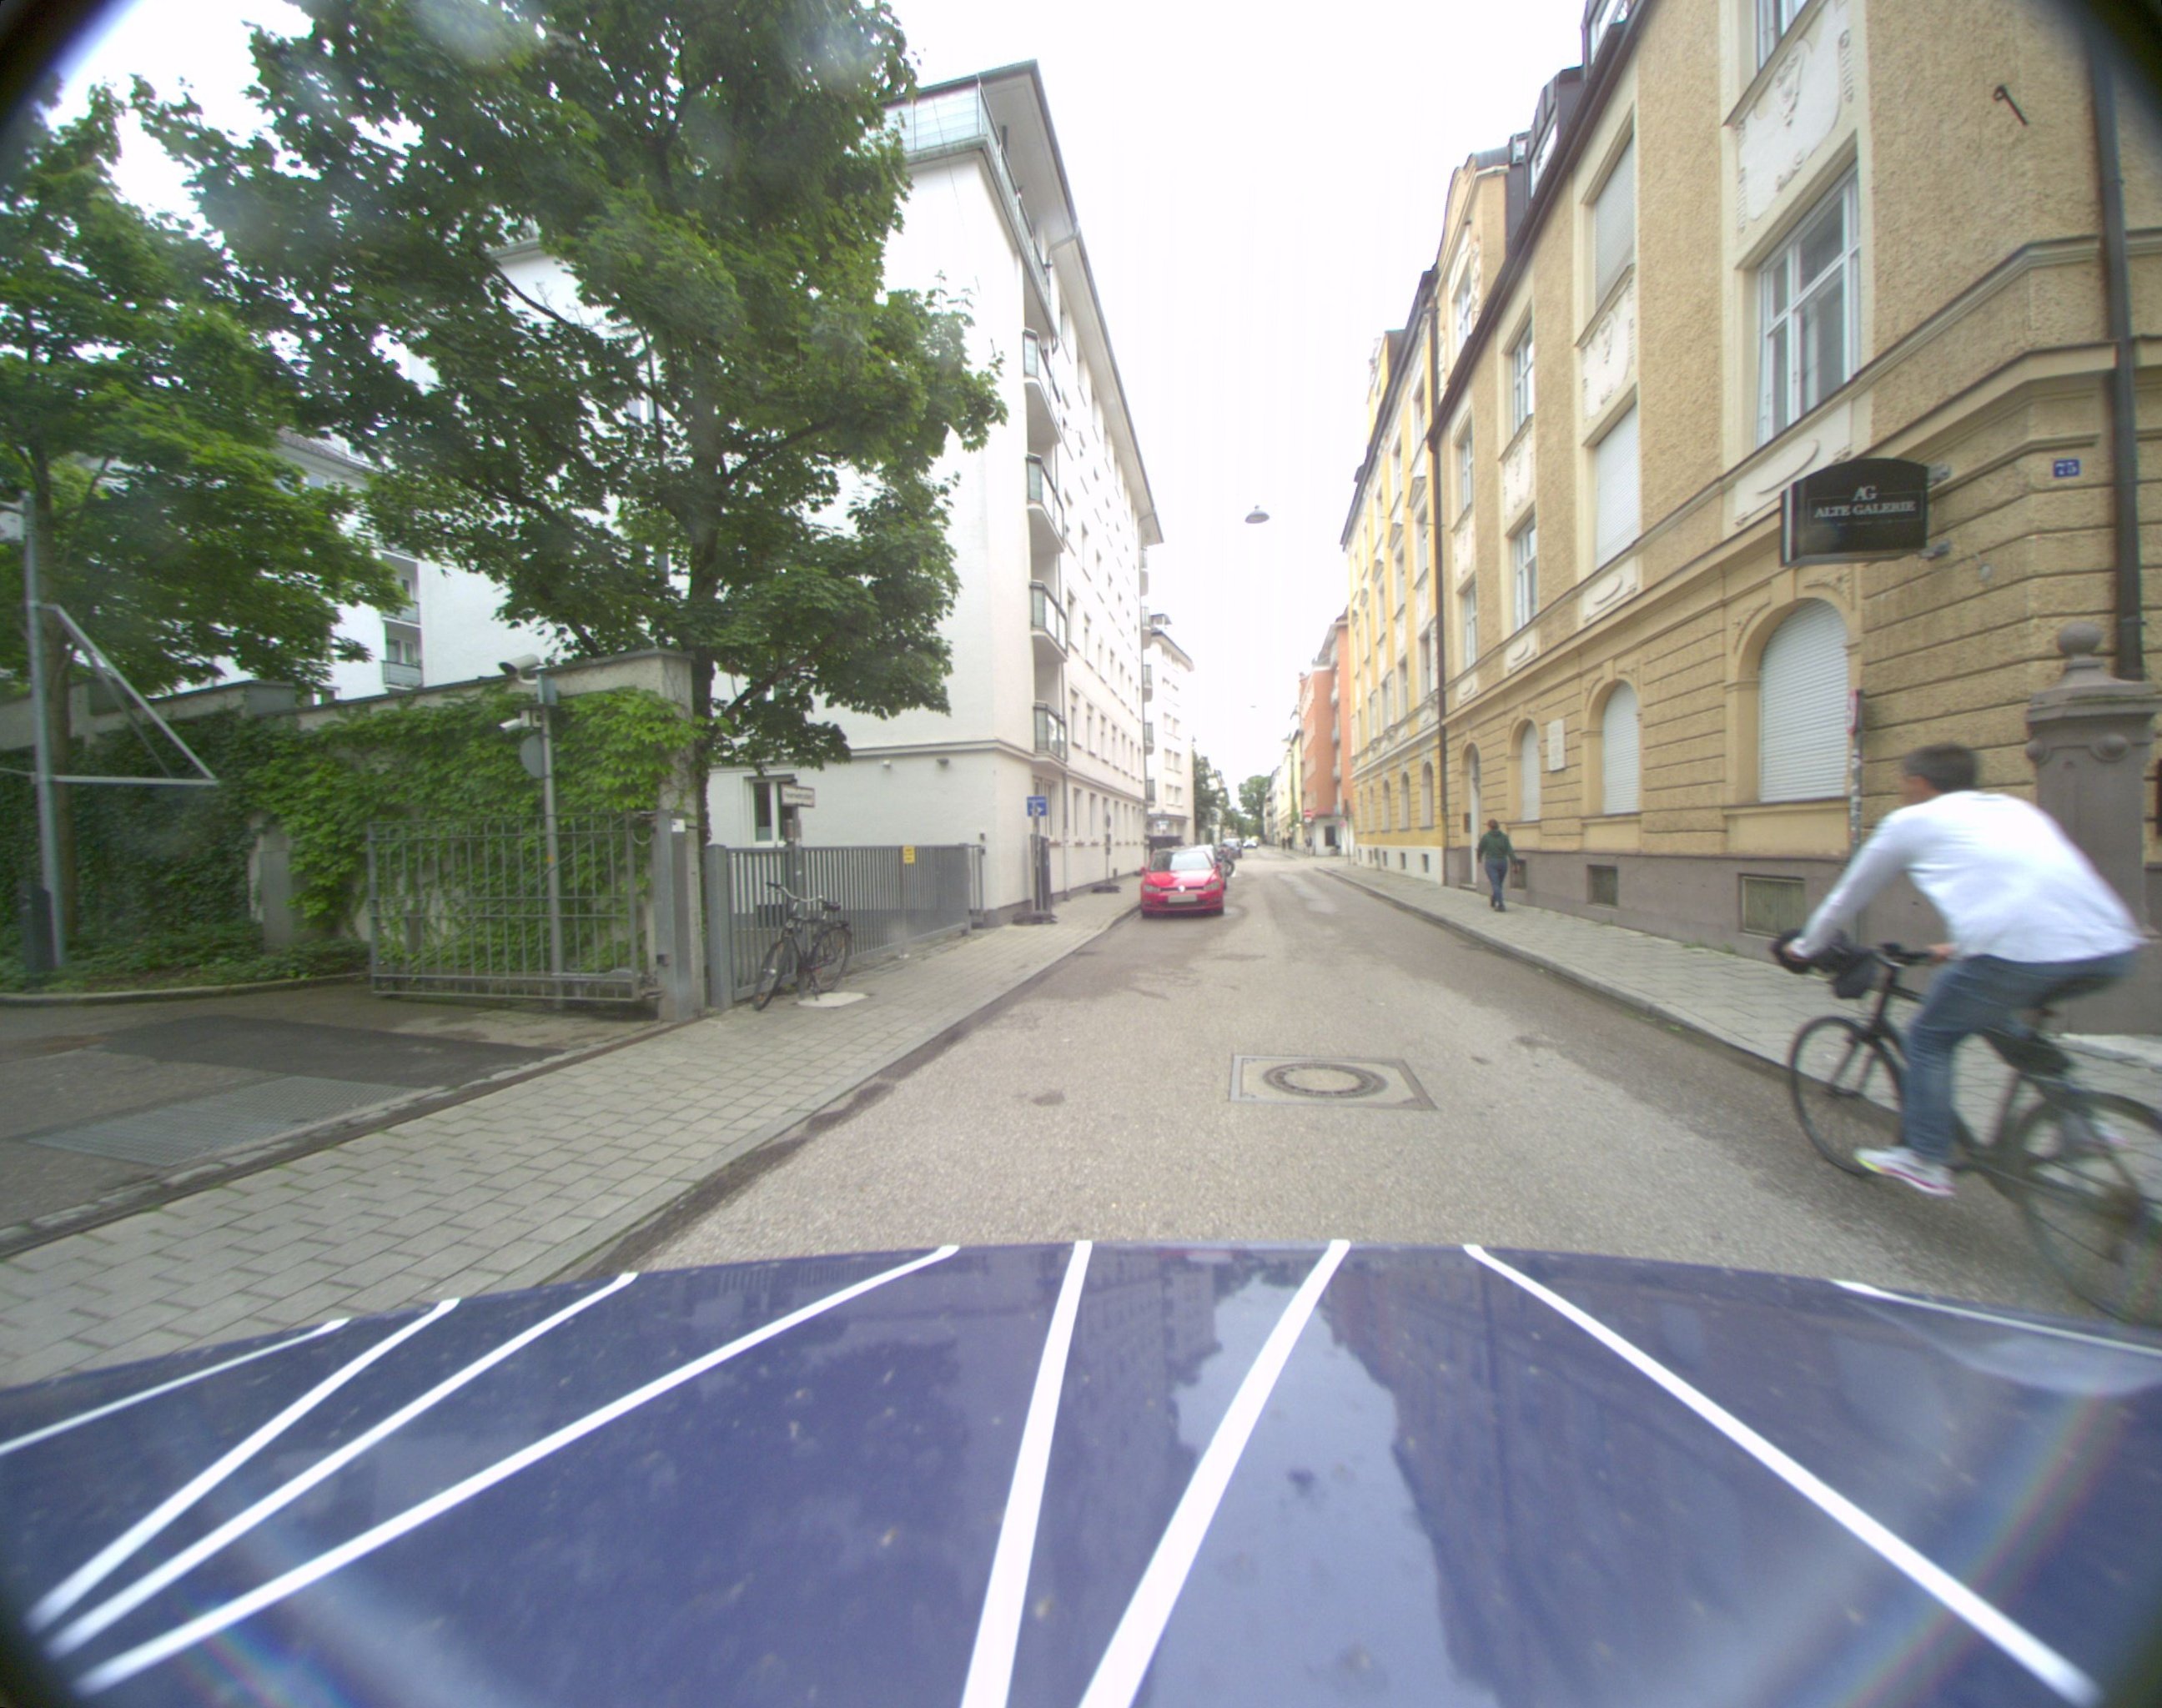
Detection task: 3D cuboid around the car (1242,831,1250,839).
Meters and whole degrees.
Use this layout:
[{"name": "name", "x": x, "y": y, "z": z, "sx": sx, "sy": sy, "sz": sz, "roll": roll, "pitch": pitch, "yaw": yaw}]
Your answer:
[{"name": "car", "x": 43.707, "y": -5.107, "z": 201.184, "sx": 1.997, "sy": 2.002, "sz": 4.650, "roll": -2, "pitch": 1, "yaw": 12}]

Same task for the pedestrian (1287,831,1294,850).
[{"name": "pedestrian", "x": 22.406, "y": -1.411, "z": 81.316, "sx": 0.634, "sy": 2.002, "sz": 0.788, "roll": 0, "pitch": 2, "yaw": 13}]

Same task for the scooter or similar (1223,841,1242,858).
[{"name": "scooter or similar", "x": 11.017, "y": -0.358, "z": 55.206, "sx": 1.339, "sy": 1.207, "sz": 0.345, "roll": -1, "pitch": 2, "yaw": 15}]

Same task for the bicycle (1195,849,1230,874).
[{"name": "bicycle", "x": 5.670, "y": 0.313, "z": 32.796, "sx": 1.437, "sy": 1.038, "sz": 0.330, "roll": 1, "pitch": 3, "yaw": 21}]

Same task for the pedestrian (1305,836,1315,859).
[{"name": "pedestrian", "x": 17.041, "y": -0.477, "z": 56.516, "sx": 0.612, "sy": 1.684, "sz": 0.566, "roll": -1, "pitch": 2, "yaw": 12}]

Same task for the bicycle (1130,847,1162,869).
[{"name": "bicycle", "x": 3.187, "y": 0.183, "z": 37.204, "sx": 1.501, "sy": 1.038, "sz": 0.399, "roll": 0, "pitch": 2, "yaw": -6}]

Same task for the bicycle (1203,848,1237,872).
[{"name": "bicycle", "x": 6.198, "y": 0.279, "z": 33.961, "sx": 1.440, "sy": 1.038, "sz": 0.360, "roll": 1, "pitch": 3, "yaw": 21}]

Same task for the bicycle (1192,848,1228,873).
[{"name": "bicycle", "x": 5.727, "y": 0.287, "z": 33.719, "sx": 1.518, "sy": 1.038, "sz": 0.360, "roll": 1, "pitch": 3, "yaw": 20}]

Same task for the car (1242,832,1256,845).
[{"name": "car", "x": 25.054, "y": -2.343, "z": 113.163, "sx": 1.928, "sy": 1.795, "sz": 4.447, "roll": -2, "pitch": 1, "yaw": 12}]

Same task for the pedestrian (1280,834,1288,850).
[{"name": "pedestrian", "x": 21.681, "y": -1.283, "z": 81.248, "sx": 0.725, "sy": 1.783, "sz": 0.830, "roll": -1, "pitch": 2, "yaw": 13}]

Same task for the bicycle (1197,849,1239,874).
[{"name": "bicycle", "x": 5.812, "y": 0.325, "z": 32.288, "sx": 1.705, "sy": 1.038, "sz": 0.360, "roll": 1, "pitch": 2, "yaw": 13}]

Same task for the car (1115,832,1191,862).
[{"name": "car", "x": 4.778, "y": -0.447, "z": 50.453, "sx": 4.672, "sy": 1.880, "sz": 1.936, "roll": -1, "pitch": 1, "yaw": 21}]

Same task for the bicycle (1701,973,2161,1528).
[{"name": "bicycle", "x": 3.143, "y": 1.108, "z": 2.657, "sx": 0.662, "sy": 1.033, "sz": 2.006, "roll": -1, "pitch": 1, "yaw": 12}]

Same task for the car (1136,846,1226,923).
[{"name": "car", "x": 2.287, "y": 0.610, "z": 17.650, "sx": 1.764, "sy": 1.438, "sz": 4.300, "roll": -3, "pitch": 1, "yaw": 7}]

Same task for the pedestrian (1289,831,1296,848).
[{"name": "pedestrian", "x": 22.557, "y": -1.578, "z": 81.165, "sx": 0.699, "sy": 1.783, "sz": 0.764, "roll": -1, "pitch": 2, "yaw": 13}]

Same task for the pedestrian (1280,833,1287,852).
[{"name": "pedestrian", "x": 21.717, "y": -1.212, "z": 81.455, "sx": 0.634, "sy": 2.002, "sz": 0.788, "roll": 0, "pitch": 2, "yaw": 13}]

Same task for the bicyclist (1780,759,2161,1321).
[{"name": "bicyclist", "x": 3.130, "y": 0.535, "z": 2.644, "sx": 0.660, "sy": 1.633, "sz": 0.896, "roll": -1, "pitch": 2, "yaw": 12}]

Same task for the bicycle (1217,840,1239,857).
[{"name": "bicycle", "x": 11.066, "y": -0.412, "z": 57.242, "sx": 1.606, "sy": 1.207, "sz": 0.529, "roll": -1, "pitch": 2, "yaw": 15}]

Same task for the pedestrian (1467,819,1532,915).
[{"name": "pedestrian", "x": 7.675, "y": 0.224, "z": 13.960, "sx": 0.714, "sy": 1.656, "sz": 0.930, "roll": -4, "pitch": 1, "yaw": 12}]

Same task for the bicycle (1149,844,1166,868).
[{"name": "bicycle", "x": 3.896, "y": 0.097, "z": 38.941, "sx": 0.399, "sy": 1.198, "sz": 1.503, "roll": 0, "pitch": 2, "yaw": -12}]

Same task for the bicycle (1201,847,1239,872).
[{"name": "bicycle", "x": 6.506, "y": 0.250, "z": 35.605, "sx": 1.698, "sy": 1.154, "sz": 0.378, "roll": -1, "pitch": 2, "yaw": 12}]

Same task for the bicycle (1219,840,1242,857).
[{"name": "bicycle", "x": 11.170, "y": -0.398, "z": 56.633, "sx": 1.606, "sy": 1.207, "sz": 0.529, "roll": -1, "pitch": 2, "yaw": 15}]

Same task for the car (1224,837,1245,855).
[{"name": "car", "x": 12.732, "y": -0.657, "z": 62.841, "sx": 1.652, "sy": 1.391, "sz": 4.003, "roll": -1, "pitch": 1, "yaw": 13}]

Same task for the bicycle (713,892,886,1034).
[{"name": "bicycle", "x": -2.708, "y": 0.993, "z": 7.558, "sx": 0.708, "sy": 1.191, "sz": 1.836, "roll": -1, "pitch": -2, "yaw": 13}]

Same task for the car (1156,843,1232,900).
[{"name": "car", "x": 3.479, "y": 0.458, "z": 22.798, "sx": 1.797, "sy": 1.430, "sz": 4.387, "roll": -3, "pitch": 1, "yaw": 14}]
